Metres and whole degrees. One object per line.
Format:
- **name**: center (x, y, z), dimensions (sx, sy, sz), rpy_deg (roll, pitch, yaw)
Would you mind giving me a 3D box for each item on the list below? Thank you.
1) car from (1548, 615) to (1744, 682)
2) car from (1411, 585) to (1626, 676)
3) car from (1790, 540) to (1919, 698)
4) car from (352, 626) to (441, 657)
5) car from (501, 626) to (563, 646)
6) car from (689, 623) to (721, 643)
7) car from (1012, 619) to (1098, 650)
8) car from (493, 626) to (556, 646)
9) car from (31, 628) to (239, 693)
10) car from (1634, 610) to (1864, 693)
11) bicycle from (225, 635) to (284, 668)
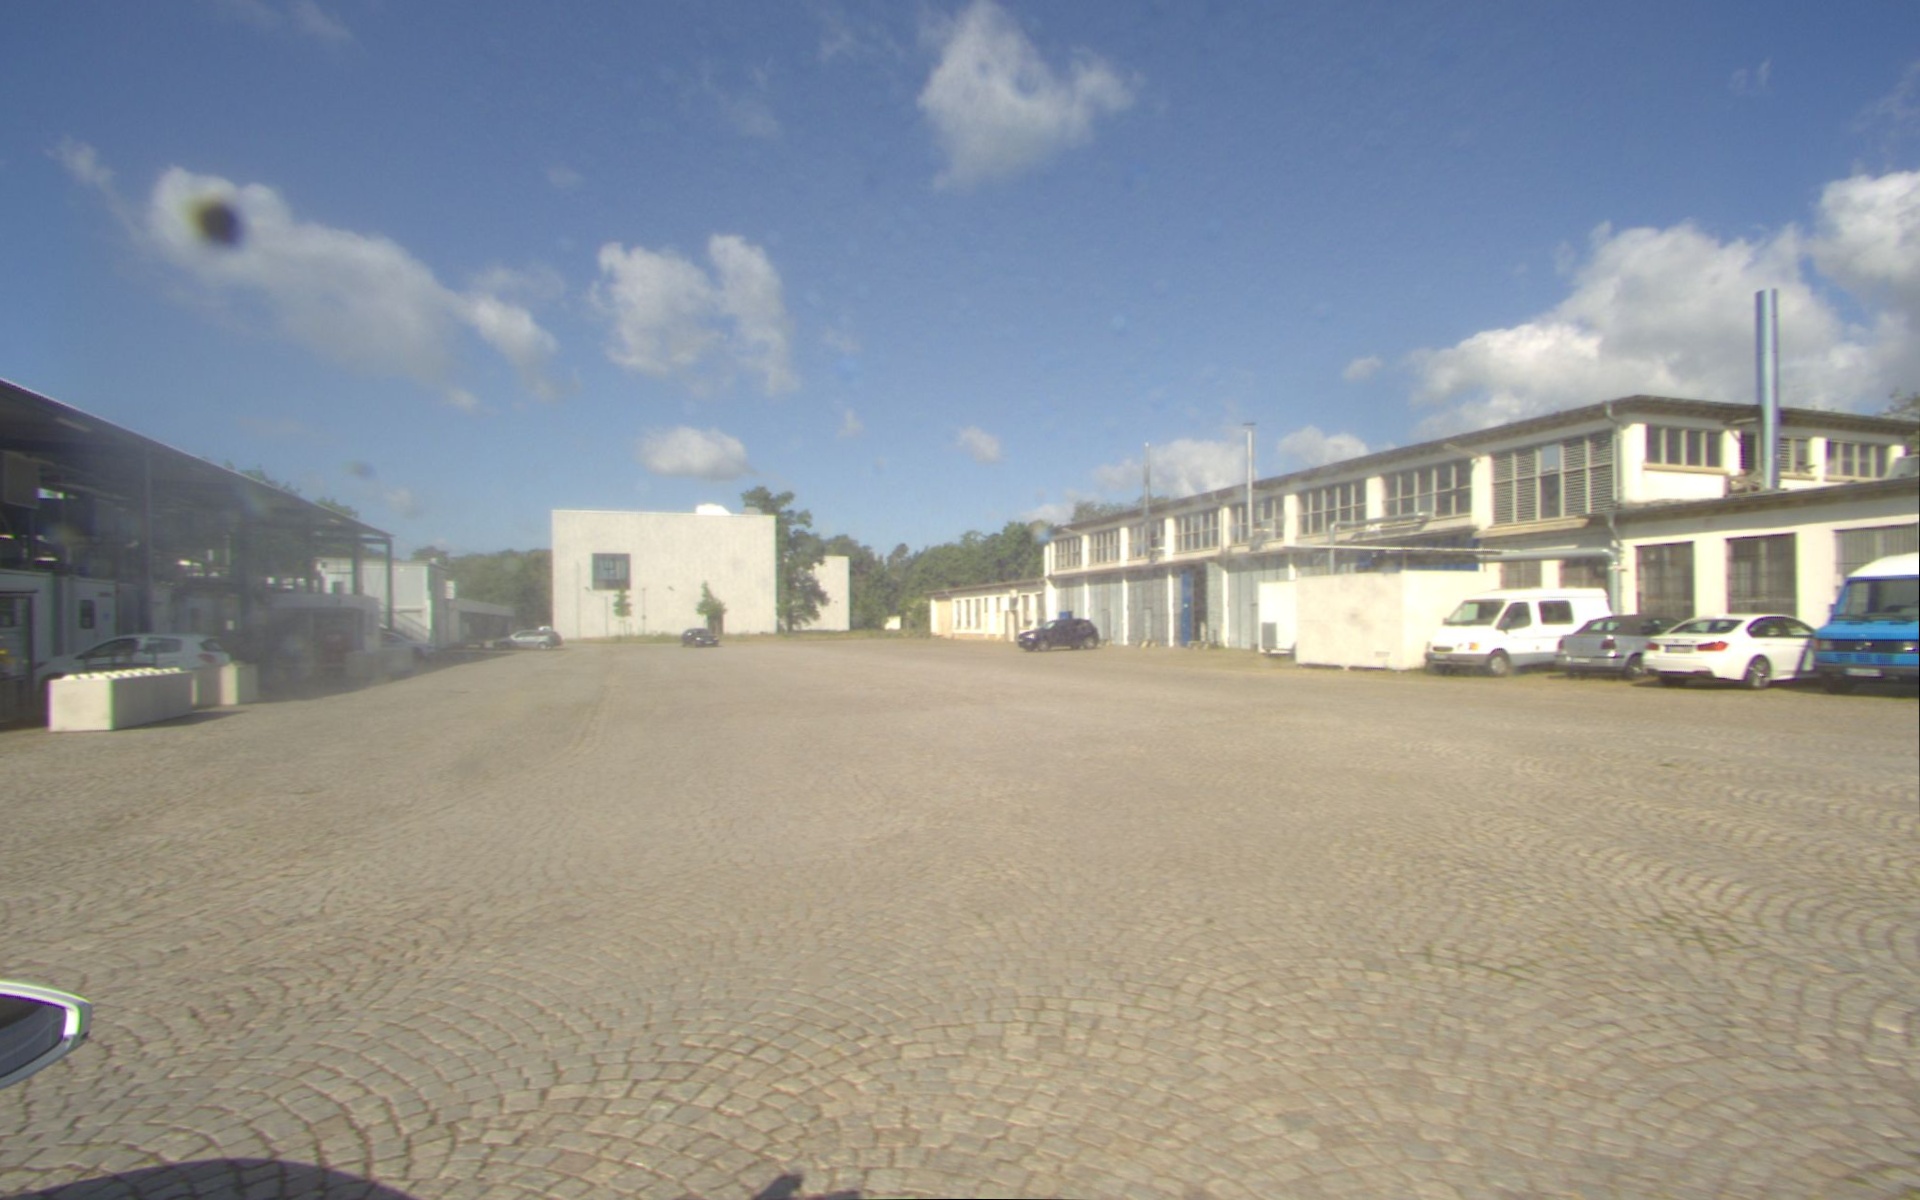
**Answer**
- **car**: center (15.545, 1.052, 22.728), dimensions (3.763, 1.417, 1.689), rpy_deg (0, 0, -16)
- **car**: center (14.122, 0.748, 25.382), dimensions (4.718, 2.108, 2.007), rpy_deg (-1, -1, -16)
- **car**: center (17.544, 0.323, 17.532), dimensions (5.145, 2.515, 2.087), rpy_deg (0, -1, -16)
- **car**: center (-27.837, 2.043, 49.608), dimensions (3.636, 1.427, 1.671), rpy_deg (0, -1, -22)
- **car**: center (-32.991, 2.735, 77.224), dimensions (4.285, 1.488, 1.737), rpy_deg (0, -1, -20)
- **car**: center (-19.381, 2.522, 75.982), dimensions (1.713, 1.447, 4.062), rpy_deg (0, -1, -24)
- **car**: center (4.876, 1.762, 51.281), dimensions (4.007, 1.489, 1.737), rpy_deg (-1, -1, -20)
- **car**: center (-32.172, 2.630, 74.088), dimensions (4.117, 1.422, 1.737), rpy_deg (0, -1, -20)
- **car**: center (-19.197, 1.375, 23.472), dimensions (3.416, 1.393, 1.607), rpy_deg (0, -1, -22)
- **car**: center (15.527, 0.983, 19.759), dimensions (3.672, 1.424, 1.735), rpy_deg (-1, -1, -16)
- **bicycle**: center (-25.105, 1.835, 35.653), dimensions (1.643, 1.151, 0.484), rpy_deg (0, -1, -20)
